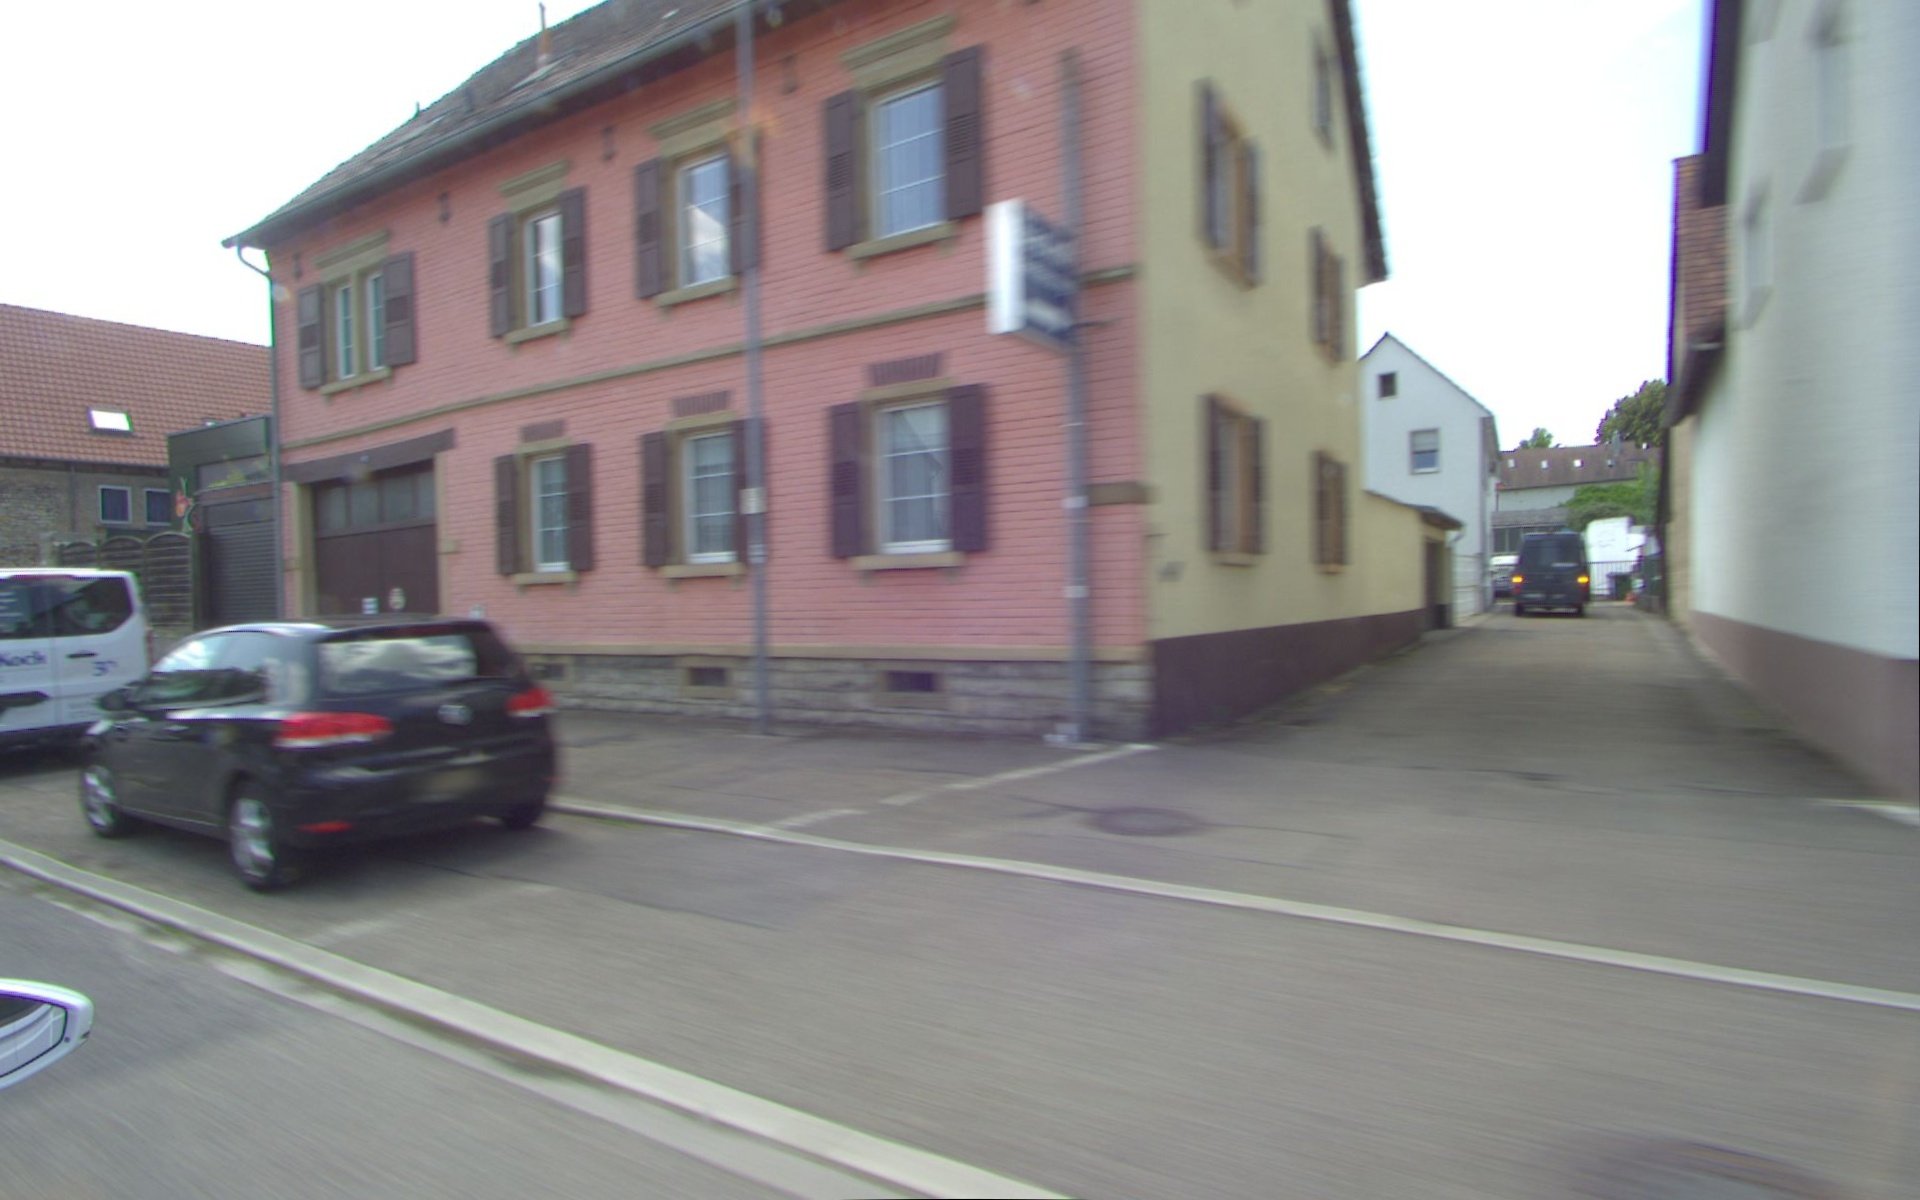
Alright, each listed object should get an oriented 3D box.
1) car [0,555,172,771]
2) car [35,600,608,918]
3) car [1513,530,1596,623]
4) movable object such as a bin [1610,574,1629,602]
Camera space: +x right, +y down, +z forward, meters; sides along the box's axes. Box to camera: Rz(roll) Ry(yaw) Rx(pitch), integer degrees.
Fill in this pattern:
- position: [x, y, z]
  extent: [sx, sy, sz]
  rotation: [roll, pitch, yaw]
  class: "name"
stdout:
- position: [-10.869, 0.631, 11.086]
  extent: [4.863, 2.009, 1.886]
  rotation: [-1, 3, 34]
  class: "car"
- position: [-4.476, 0.825, 6.844]
  extent: [4.105, 1.515, 1.769]
  rotation: [-1, 2, 34]
  class: "car"
- position: [18.877, -0.733, 31.880]
  extent: [2.129, 2.714, 3.979]
  rotation: [-1, 1, 30]
  class: "car"
- position: [32.270, -0.580, 49.001]
  extent: [0.727, 1.298, 0.667]
  rotation: [-1, -1, 32]
  class: "movable object such as a bin"
